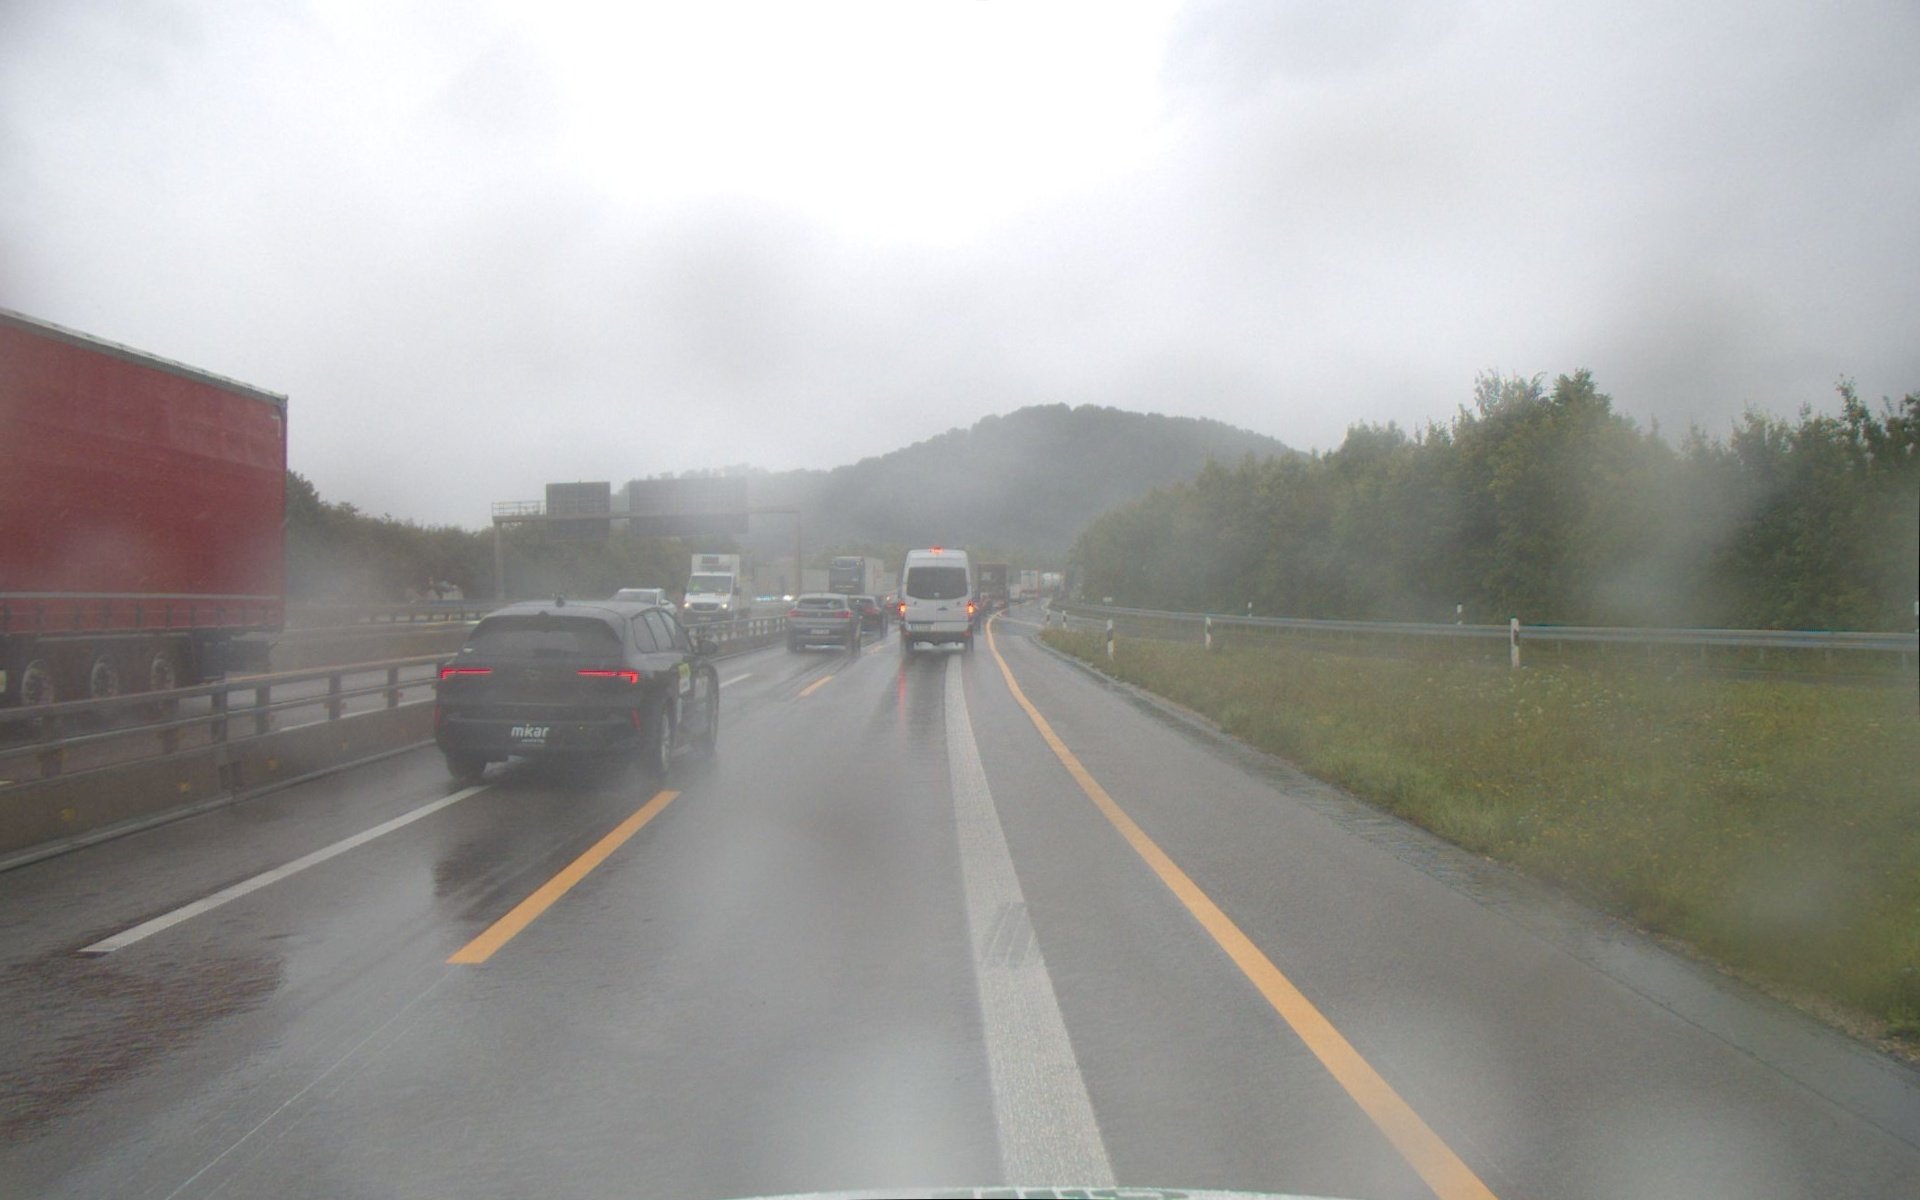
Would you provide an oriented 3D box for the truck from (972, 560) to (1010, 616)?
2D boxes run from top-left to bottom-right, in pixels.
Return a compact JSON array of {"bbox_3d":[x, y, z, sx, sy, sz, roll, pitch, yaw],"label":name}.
[{"bbox_3d":[2.760,-1.009,149.878,3.252,4.868,9.906,1,0,0],"label":"truck"}]

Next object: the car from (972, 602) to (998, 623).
[{"bbox_3d":[1.535,0.781,103.038,1.357,1.278,3.120,0,0,-4],"label":"car"}]

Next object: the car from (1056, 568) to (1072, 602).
[{"bbox_3d":[13.655,-1.936,217.549,2.015,4.265,6.748,0,0,3],"label":"car"}]

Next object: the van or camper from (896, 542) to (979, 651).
[{"bbox_3d":[-0.557,-0.078,44.424,2.095,2.769,4.648,0,0,0],"label":"van or camper"}]

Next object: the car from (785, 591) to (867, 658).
[{"bbox_3d":[-3.523,0.622,44.157,1.829,1.688,3.988,0,0,0],"label":"car"}]

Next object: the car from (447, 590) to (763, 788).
[{"bbox_3d":[-2.923,0.673,14.714,1.900,1.452,4.758,1,0,-2],"label":"car"}]

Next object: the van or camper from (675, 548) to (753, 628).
[{"bbox_3d":[-10.061,-0.446,68.210,2.247,3.094,6.697,1,0,-1],"label":"van or camper"}]

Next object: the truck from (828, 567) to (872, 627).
[{"bbox_3d":[-8.217,-0.193,123.972,2.829,4.306,6.326,0,-1,1],"label":"truck"}]

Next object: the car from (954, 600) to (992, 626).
[{"bbox_3d":[0.554,0.563,73.061,1.358,1.097,3.118,0,0,-6],"label":"car"}]

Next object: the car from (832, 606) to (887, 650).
[{"bbox_3d":[-3.684,1.007,61.119,1.814,1.527,3.999,0,0,-1],"label":"car"}]

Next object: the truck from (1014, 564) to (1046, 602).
[{"bbox_3d":[9.547,-2.249,225.402,3.845,4.868,9.912,1,0,5],"label":"truck"}]

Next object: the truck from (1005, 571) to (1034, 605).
[{"bbox_3d":[7.161,-1.388,200.327,3.252,3.827,9.906,1,0,0],"label":"truck"}]

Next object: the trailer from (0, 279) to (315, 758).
[{"bbox_3d":[-10.207,-0.728,16.854,2.915,4.370,11.059,-1,0,0],"label":"trailer"}]

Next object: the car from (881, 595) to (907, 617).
[{"bbox_3d":[-3.333,0.310,83.755,1.237,1.097,3.254,0,0,-1],"label":"car"}]

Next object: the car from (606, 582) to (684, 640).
[{"bbox_3d":[-9.907,0.349,52.366,1.602,1.697,4.542,1,0,-1],"label":"car"}]
